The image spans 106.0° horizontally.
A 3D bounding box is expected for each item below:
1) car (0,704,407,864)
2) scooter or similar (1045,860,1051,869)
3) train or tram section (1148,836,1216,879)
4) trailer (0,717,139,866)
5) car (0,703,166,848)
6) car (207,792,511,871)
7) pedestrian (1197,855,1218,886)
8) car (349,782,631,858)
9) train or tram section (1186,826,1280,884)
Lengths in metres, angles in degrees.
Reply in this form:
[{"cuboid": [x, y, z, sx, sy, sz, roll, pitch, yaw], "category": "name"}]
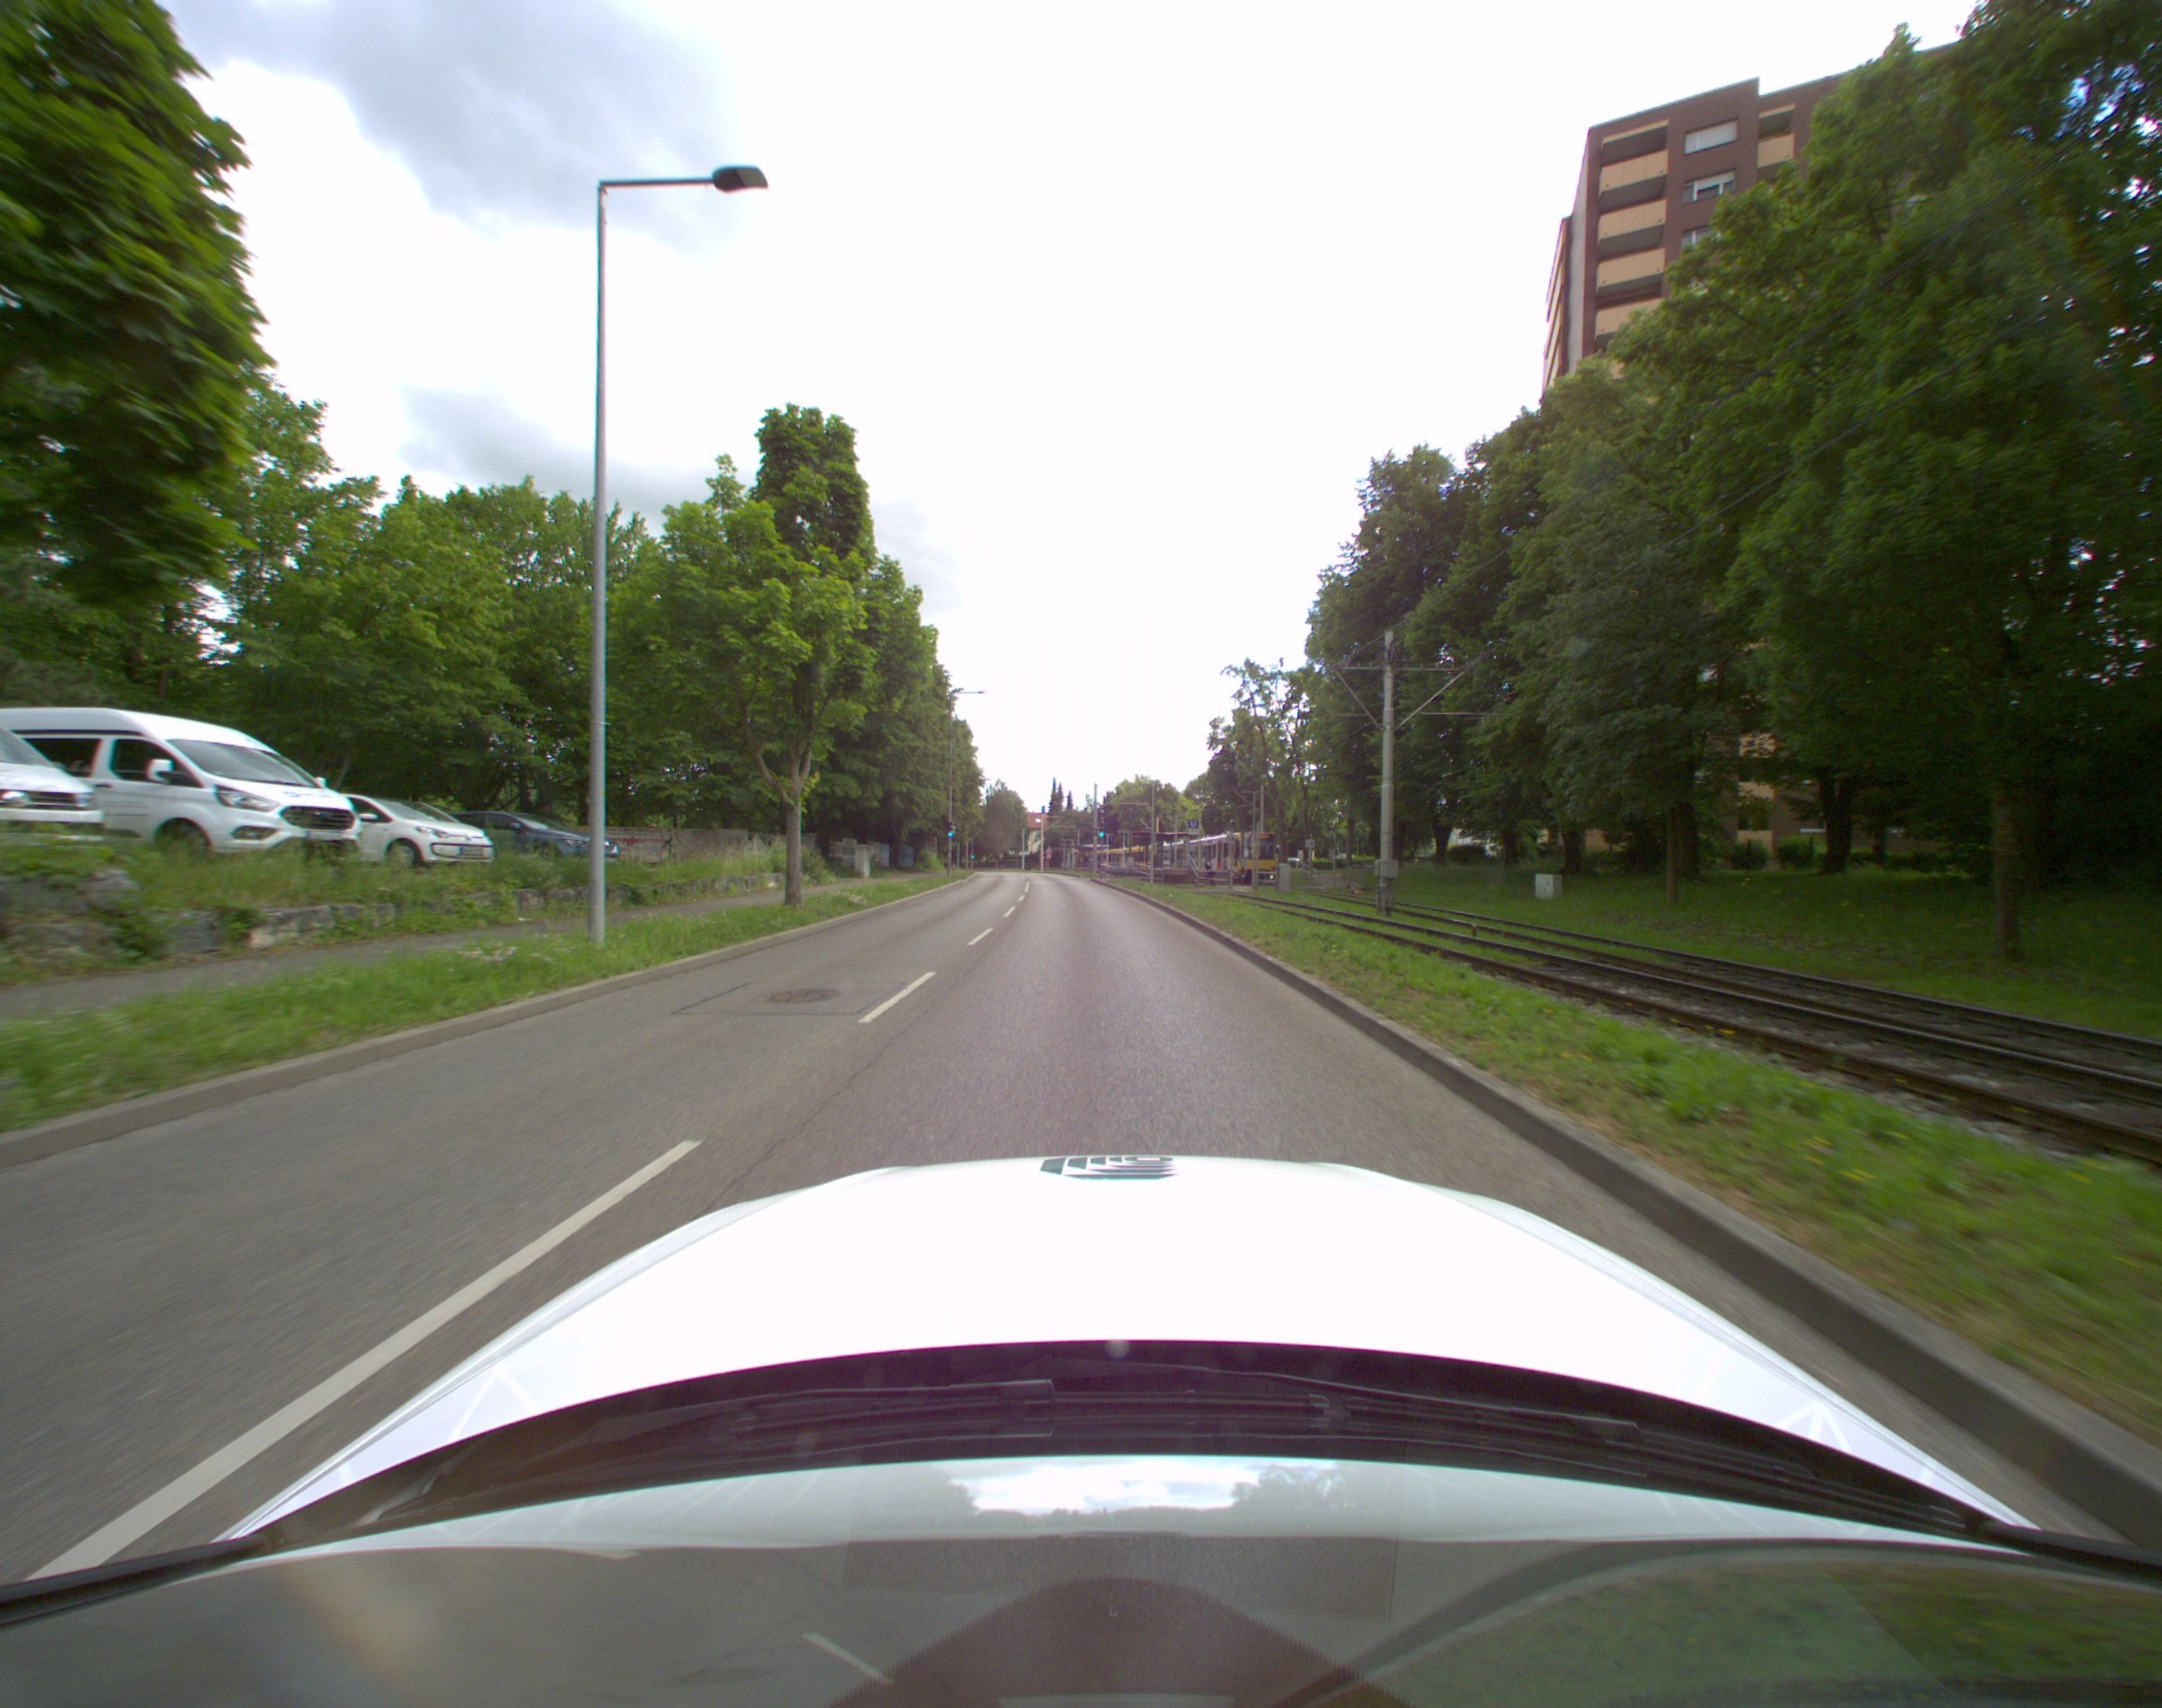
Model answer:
[{"cuboid": [-13.587, -0.986, 12.204, 5.135, 2.106, 2.216, 1, 0, 2], "category": "car"}, {"cuboid": [-5.135, 1.626, 126.848, 0.431, 1.253, 1.246, 0, -3, -20], "category": "scooter or similar"}, {"cuboid": [9.714, 0.475, 81.251, 2.809, 3.799, 18.898, 1, -1, -5], "category": "train or tram section"}, {"cuboid": [-23.953, -1.366, 15.765, 2.637, 3.074, 7.201, 1, -1, 4], "category": "trailer"}, {"cuboid": [-13.992, -0.895, 9.361, 4.967, 1.548, 2.101, 1, 0, 7], "category": "car"}, {"cuboid": [-13.393, -0.409, 15.251, 4.360, 1.316, 1.564, 1, 0, 2], "category": "car"}, {"cuboid": [7.278, 0.966, 46.927, 0.985, 1.758, 0.726, 1, 0, -13], "category": "pedestrian"}, {"cuboid": [-13.485, -0.753, 18.771, 5.135, 1.561, 1.887, 1, 0, 2], "category": "car"}, {"cuboid": [11.134, 0.221, 62.393, 2.807, 3.737, 18.509, 1, -1, -3], "category": "train or tram section"}]
